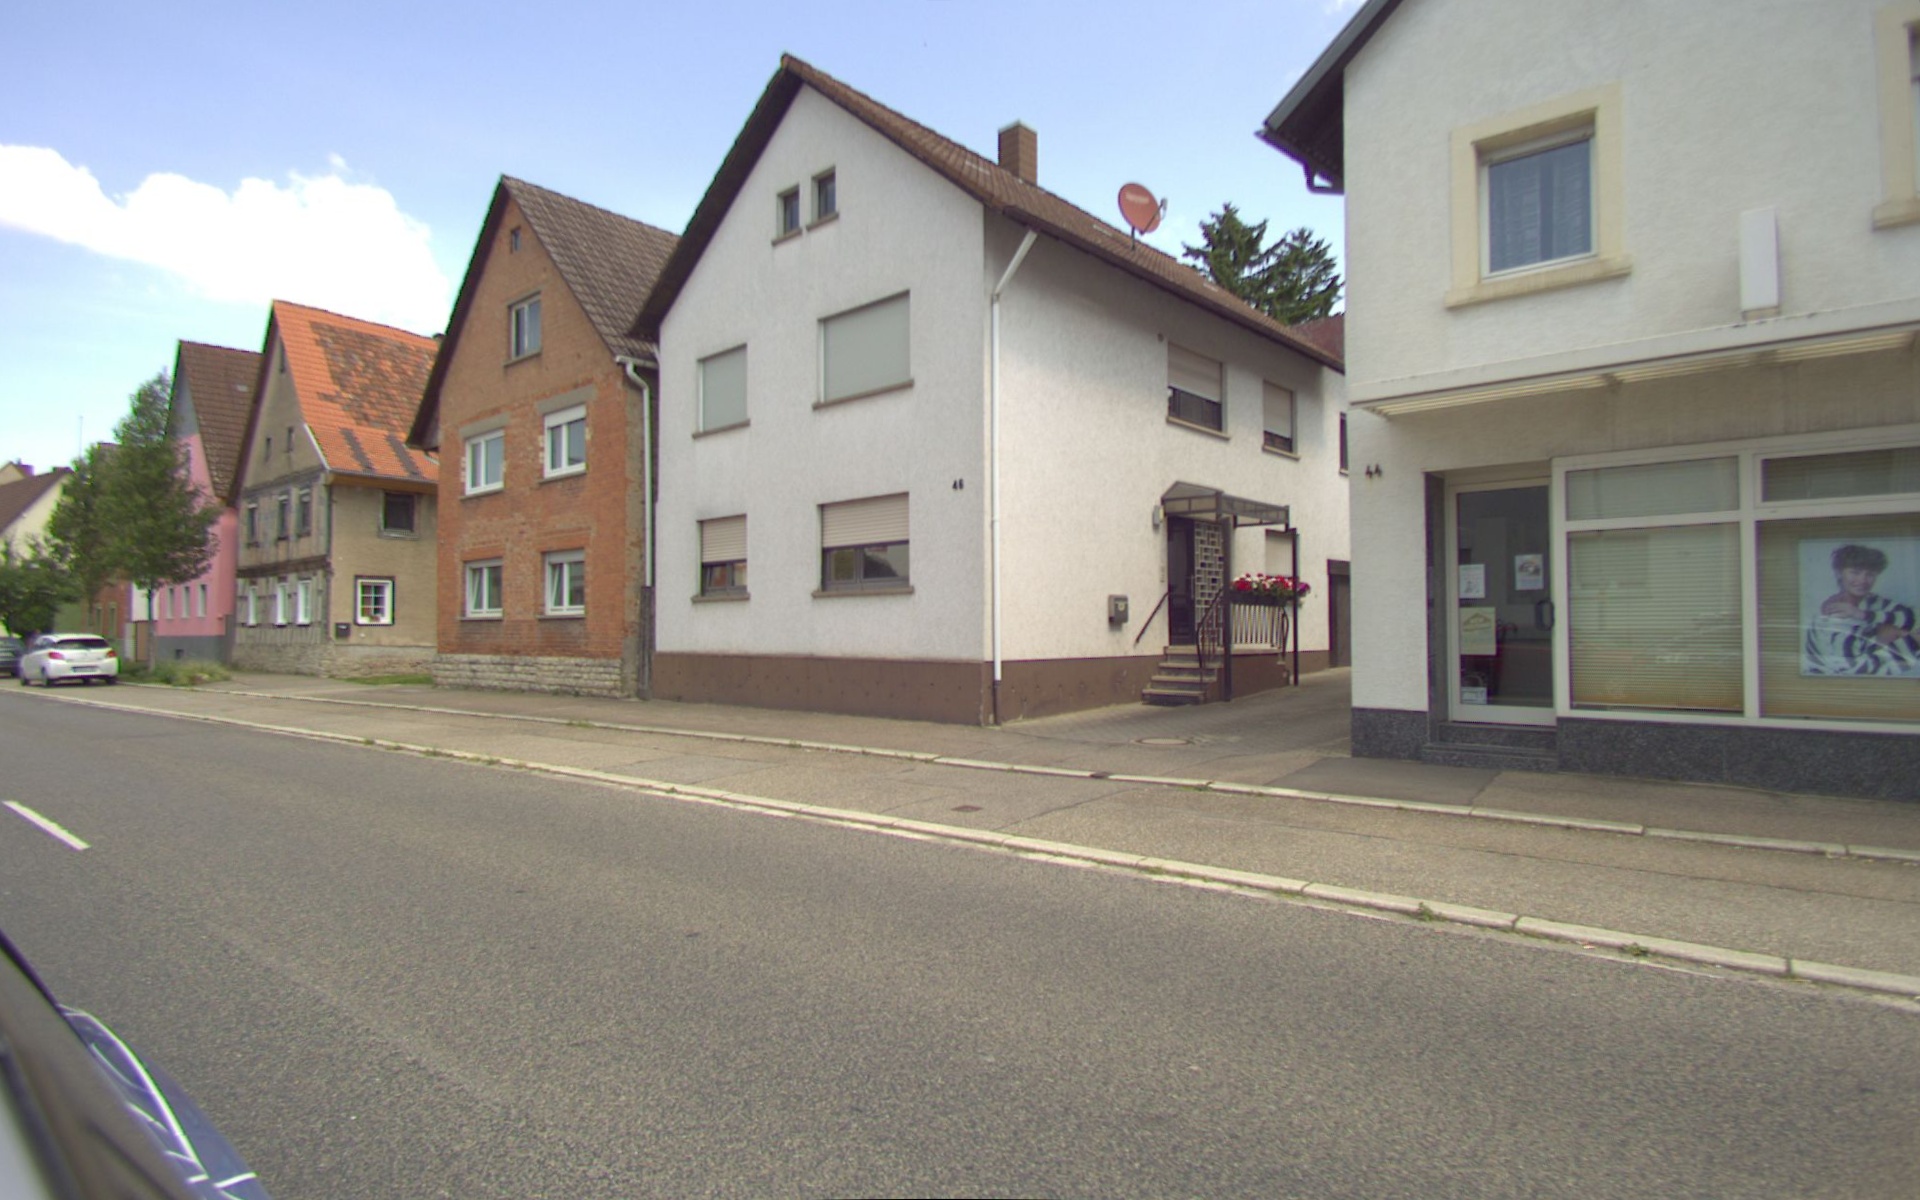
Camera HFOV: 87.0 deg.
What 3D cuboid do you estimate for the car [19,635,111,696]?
[{"bbox_3d":[-25.778,1.836,29.110,3.499,1.541,1.661,-1,0,43],"label":"car"}]
